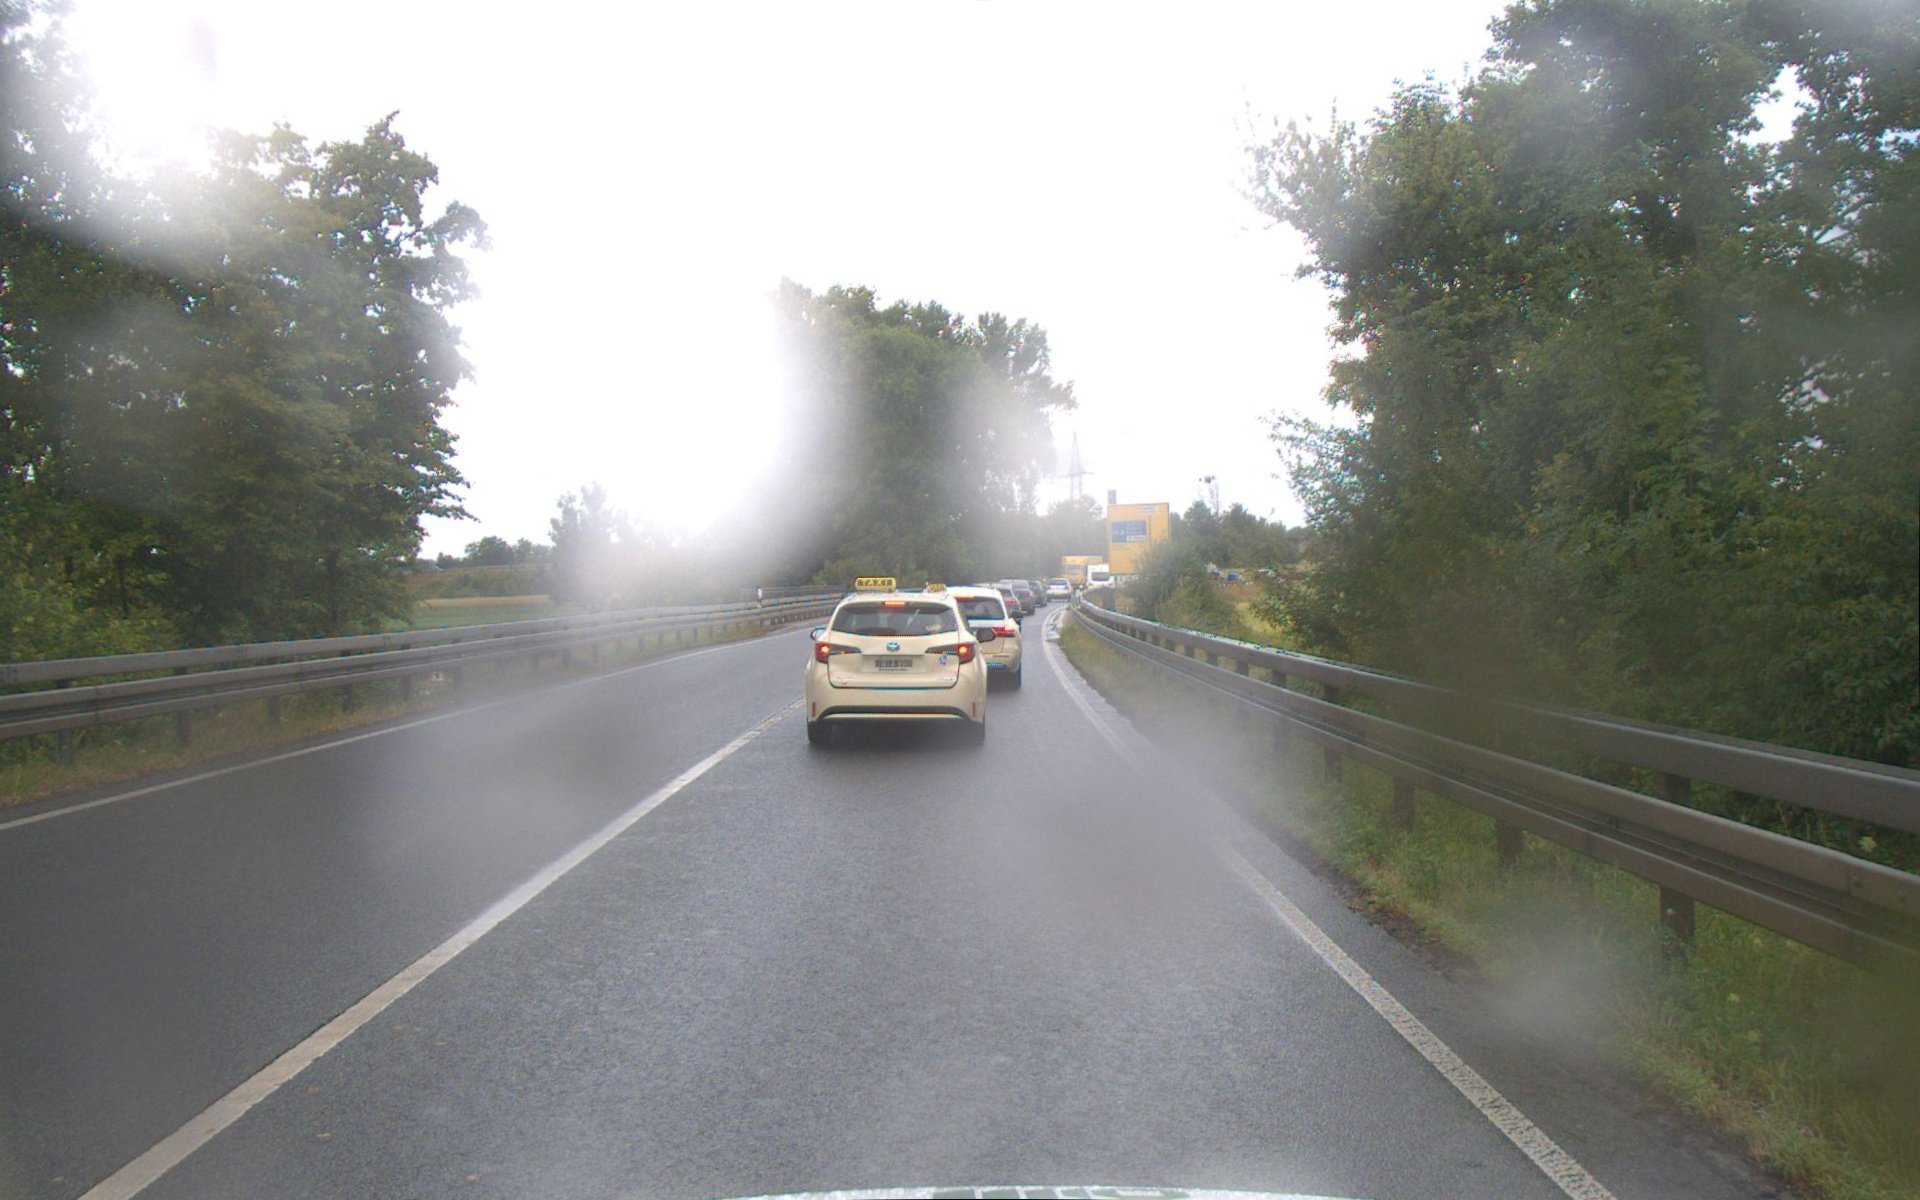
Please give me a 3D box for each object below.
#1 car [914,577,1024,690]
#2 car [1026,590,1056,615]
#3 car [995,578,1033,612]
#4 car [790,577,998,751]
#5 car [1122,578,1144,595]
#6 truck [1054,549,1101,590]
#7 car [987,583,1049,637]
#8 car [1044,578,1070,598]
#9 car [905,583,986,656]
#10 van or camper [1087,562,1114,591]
[{"bbox_3d":[0.185,0.460,25.254,1.545,1.600,3.682,0,0,2],"label":"car"},{"bbox_3d":[4.459,0.113,91.012,1.451,1.332,3.479,0,0,6],"label":"car"},{"bbox_3d":[2.399,-0.205,72.730,1.626,1.434,3.905,0,0,2],"label":"car"},{"bbox_3d":[-0.584,0.567,17.029,1.867,1.564,4.162,0,0,0],"label":"car"},{"bbox_3d":[16.528,-1.275,157.703,1.612,1.613,3.686,1,0,14],"label":"car"},{"bbox_3d":[10.905,-2.861,152.718,2.712,3.488,9.196,2,2,14],"label":"truck"},{"bbox_3d":[1.655,0.272,48.149,1.631,1.489,3.476,0,0,-1],"label":"car"},{"bbox_3d":[6.382,-0.787,108.212,1.451,1.332,3.479,0,0,7],"label":"car"},{"bbox_3d":[-0.264,0.382,35.102,1.474,1.462,3.357,1,0,4],"label":"car"},{"bbox_3d":[11.669,-1.954,137.238,1.951,2.293,4.003,1,0,9],"label":"van or camper"}]
